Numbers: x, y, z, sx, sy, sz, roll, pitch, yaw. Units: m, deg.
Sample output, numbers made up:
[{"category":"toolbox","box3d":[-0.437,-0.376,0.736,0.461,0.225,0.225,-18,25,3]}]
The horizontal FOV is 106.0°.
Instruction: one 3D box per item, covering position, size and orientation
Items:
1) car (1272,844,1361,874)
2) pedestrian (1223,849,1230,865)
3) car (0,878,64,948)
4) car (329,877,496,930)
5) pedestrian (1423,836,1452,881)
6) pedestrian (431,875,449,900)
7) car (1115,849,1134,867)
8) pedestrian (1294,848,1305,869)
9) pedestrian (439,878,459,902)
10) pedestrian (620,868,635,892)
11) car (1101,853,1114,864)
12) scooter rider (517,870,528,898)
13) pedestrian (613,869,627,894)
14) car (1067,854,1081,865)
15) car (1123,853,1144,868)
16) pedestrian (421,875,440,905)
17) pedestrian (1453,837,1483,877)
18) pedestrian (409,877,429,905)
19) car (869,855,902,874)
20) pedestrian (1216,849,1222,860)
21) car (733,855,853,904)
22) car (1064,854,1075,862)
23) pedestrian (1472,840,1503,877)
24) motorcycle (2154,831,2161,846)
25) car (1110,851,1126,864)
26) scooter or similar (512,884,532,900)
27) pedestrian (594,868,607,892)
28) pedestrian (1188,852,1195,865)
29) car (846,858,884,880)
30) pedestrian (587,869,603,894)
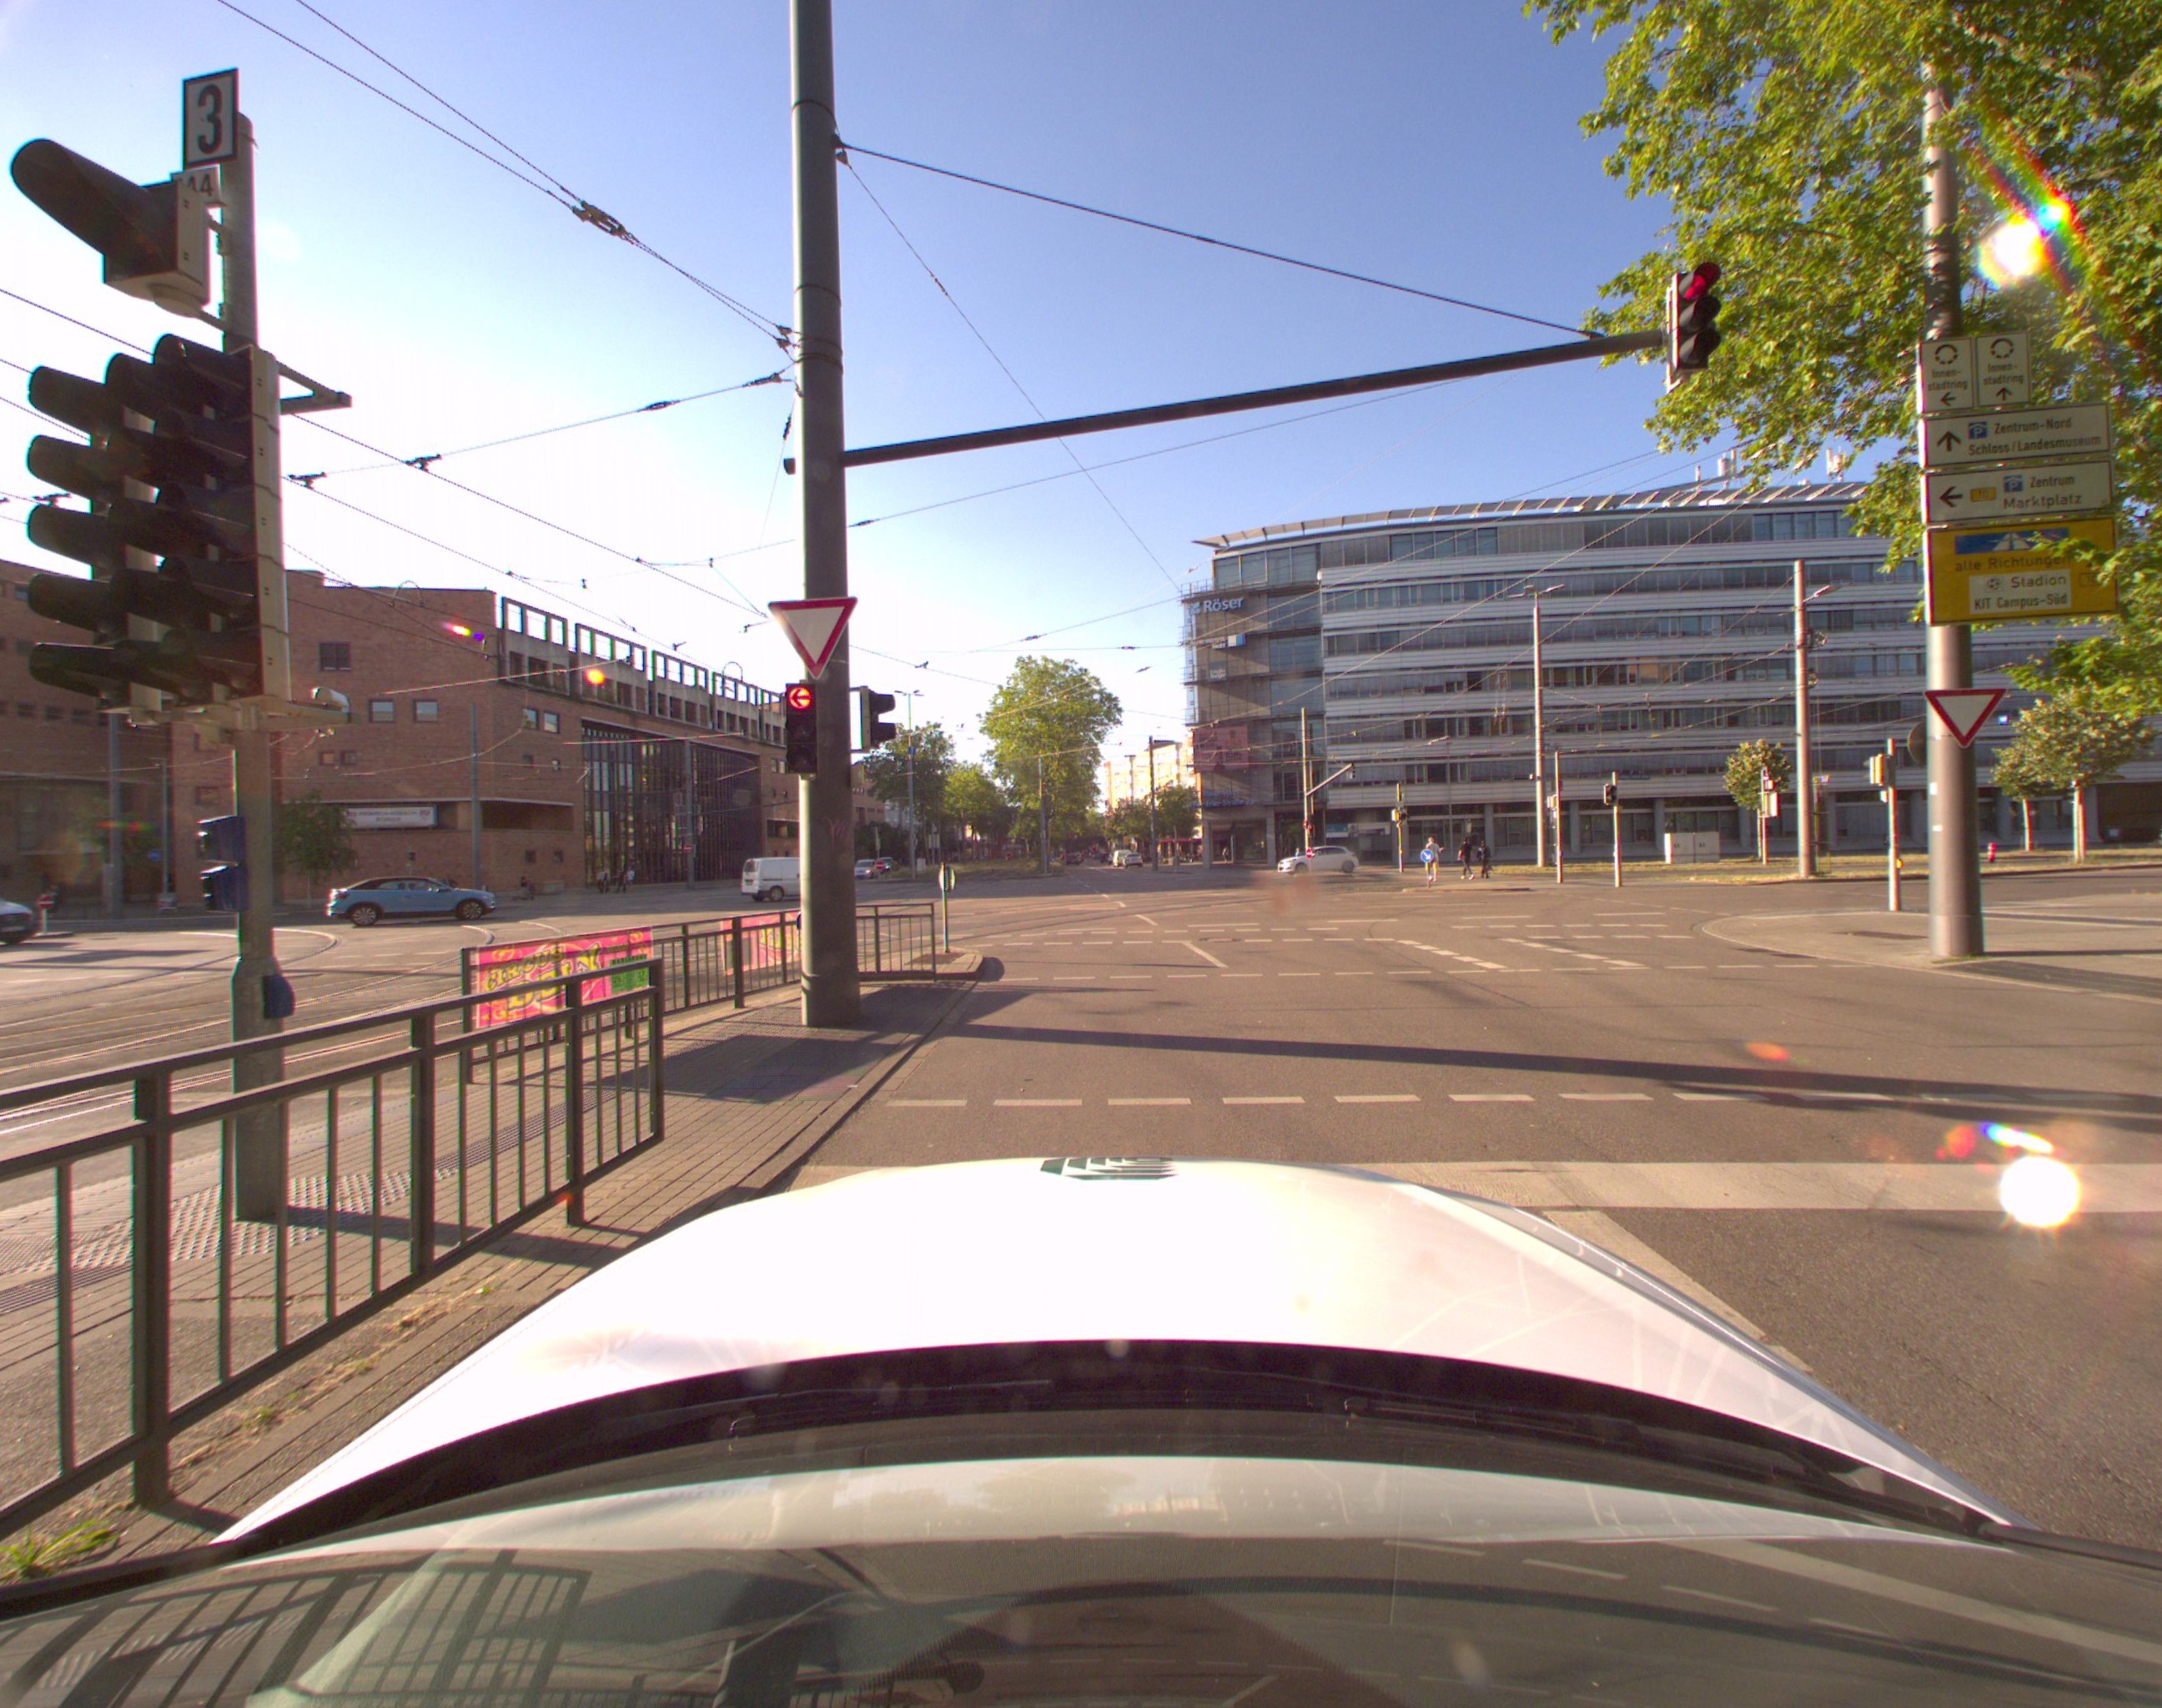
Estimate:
[{"category":"car","box3d":[12.882,0.267,44.694,4.287,1.488,1.759,-2,0,-5]},{"category":"pedestrian","box3d":[13.965,0.259,78.338,0.608,1.507,0.580,-2,0,9]},{"category":"car","box3d":[-31.789,1.708,22.104,5.307,1.848,1.963,-2,0,-7]},{"category":"car","box3d":[-21.803,1.564,26.666,4.126,1.426,1.613,-2,0,-43]},{"category":"pedestrian","box3d":[14.765,0.183,33.774,0.858,1.788,0.874,-2,0,9]},{"category":"pedestrian","box3d":[-38.037,1.967,48.345,0.568,1.453,0.612,-2,0,-13]},{"category":"car","box3d":[4.743,0.454,89.627,1.986,1.860,4.002,-2,0,2]},{"category":"pedestrian","box3d":[15.454,0.327,57.653,0.608,1.507,0.580,-2,0,9]},{"category":"pedestrian","box3d":[-36.537,2.073,47.080,0.597,1.339,0.684,-2,0,17]},{"category":"pedestrian","box3d":[-32.065,1.822,57.589,0.608,1.625,0.619,-2,0,3]},{"category":"car","box3d":[4.091,0.663,126.765,1.986,1.618,4.002,-2,0,2]},{"category":"scooter rider","box3d":[-33.724,1.807,49.174,0.441,1.647,0.226,-2,0,-44]},{"category":"pedestrian","box3d":[-31.627,1.881,55.904,0.587,1.683,0.551,-2,0,4]},{"category":"car","box3d":[-0.986,0.793,114.338,1.791,1.442,4.002,-2,0,2]},{"category":"car","box3d":[5.289,0.625,82.810,1.986,1.376,4.002,-2,0,2]},{"category":"pedestrian","box3d":[-37.555,2.081,47.045,0.597,1.648,0.549,-2,0,1]},{"category":"pedestrian","box3d":[16.818,0.134,35.413,0.907,1.685,1.038,-2,0,9]},{"category":"pedestrian","box3d":[-38.452,2.139,47.299,0.594,1.614,0.589,-2,0,1]},{"category":"car","box3d":[-18.117,0.965,75.515,1.987,1.640,4.001,-2,0,1]},{"category":"pedestrian","box3d":[21.221,0.078,125.446,0.741,1.714,0.612,-2,0,1]},{"category":"car","box3d":[-12.395,1.043,35.261,1.739,1.867,4.552,-2,0,44]},{"category":"car","box3d":[-2.086,0.803,147.314,1.792,1.442,3.999,0,-1,0]},{"category":"pedestrian","box3d":[17.542,0.183,35.149,0.943,1.564,0.899,-2,0,9]},{"category":"motorcycle","box3d":[60.209,-0.868,44.816,1.560,0.810,0.468,-2,0,6]},{"category":"car","box3d":[4.819,0.483,105.283,1.986,1.618,4.002,-2,0,2]},{"category":"scooter or similar","box3d":[-33.728,2.279,49.137,0.956,0.899,0.173,-2,0,-45]},{"category":"pedestrian","box3d":[-33.682,1.805,57.098,0.569,1.683,0.550,-2,0,4]},{"category":"pedestrian","box3d":[14.190,0.605,104.902,0.741,1.714,0.612,-2,0,1]},{"category":"car","box3d":[-18.006,1.221,67.940,1.987,1.640,4.001,-2,0,1]},{"category":"pedestrian","box3d":[-33.151,1.886,55.568,0.642,1.683,0.626,-2,0,29]}]
